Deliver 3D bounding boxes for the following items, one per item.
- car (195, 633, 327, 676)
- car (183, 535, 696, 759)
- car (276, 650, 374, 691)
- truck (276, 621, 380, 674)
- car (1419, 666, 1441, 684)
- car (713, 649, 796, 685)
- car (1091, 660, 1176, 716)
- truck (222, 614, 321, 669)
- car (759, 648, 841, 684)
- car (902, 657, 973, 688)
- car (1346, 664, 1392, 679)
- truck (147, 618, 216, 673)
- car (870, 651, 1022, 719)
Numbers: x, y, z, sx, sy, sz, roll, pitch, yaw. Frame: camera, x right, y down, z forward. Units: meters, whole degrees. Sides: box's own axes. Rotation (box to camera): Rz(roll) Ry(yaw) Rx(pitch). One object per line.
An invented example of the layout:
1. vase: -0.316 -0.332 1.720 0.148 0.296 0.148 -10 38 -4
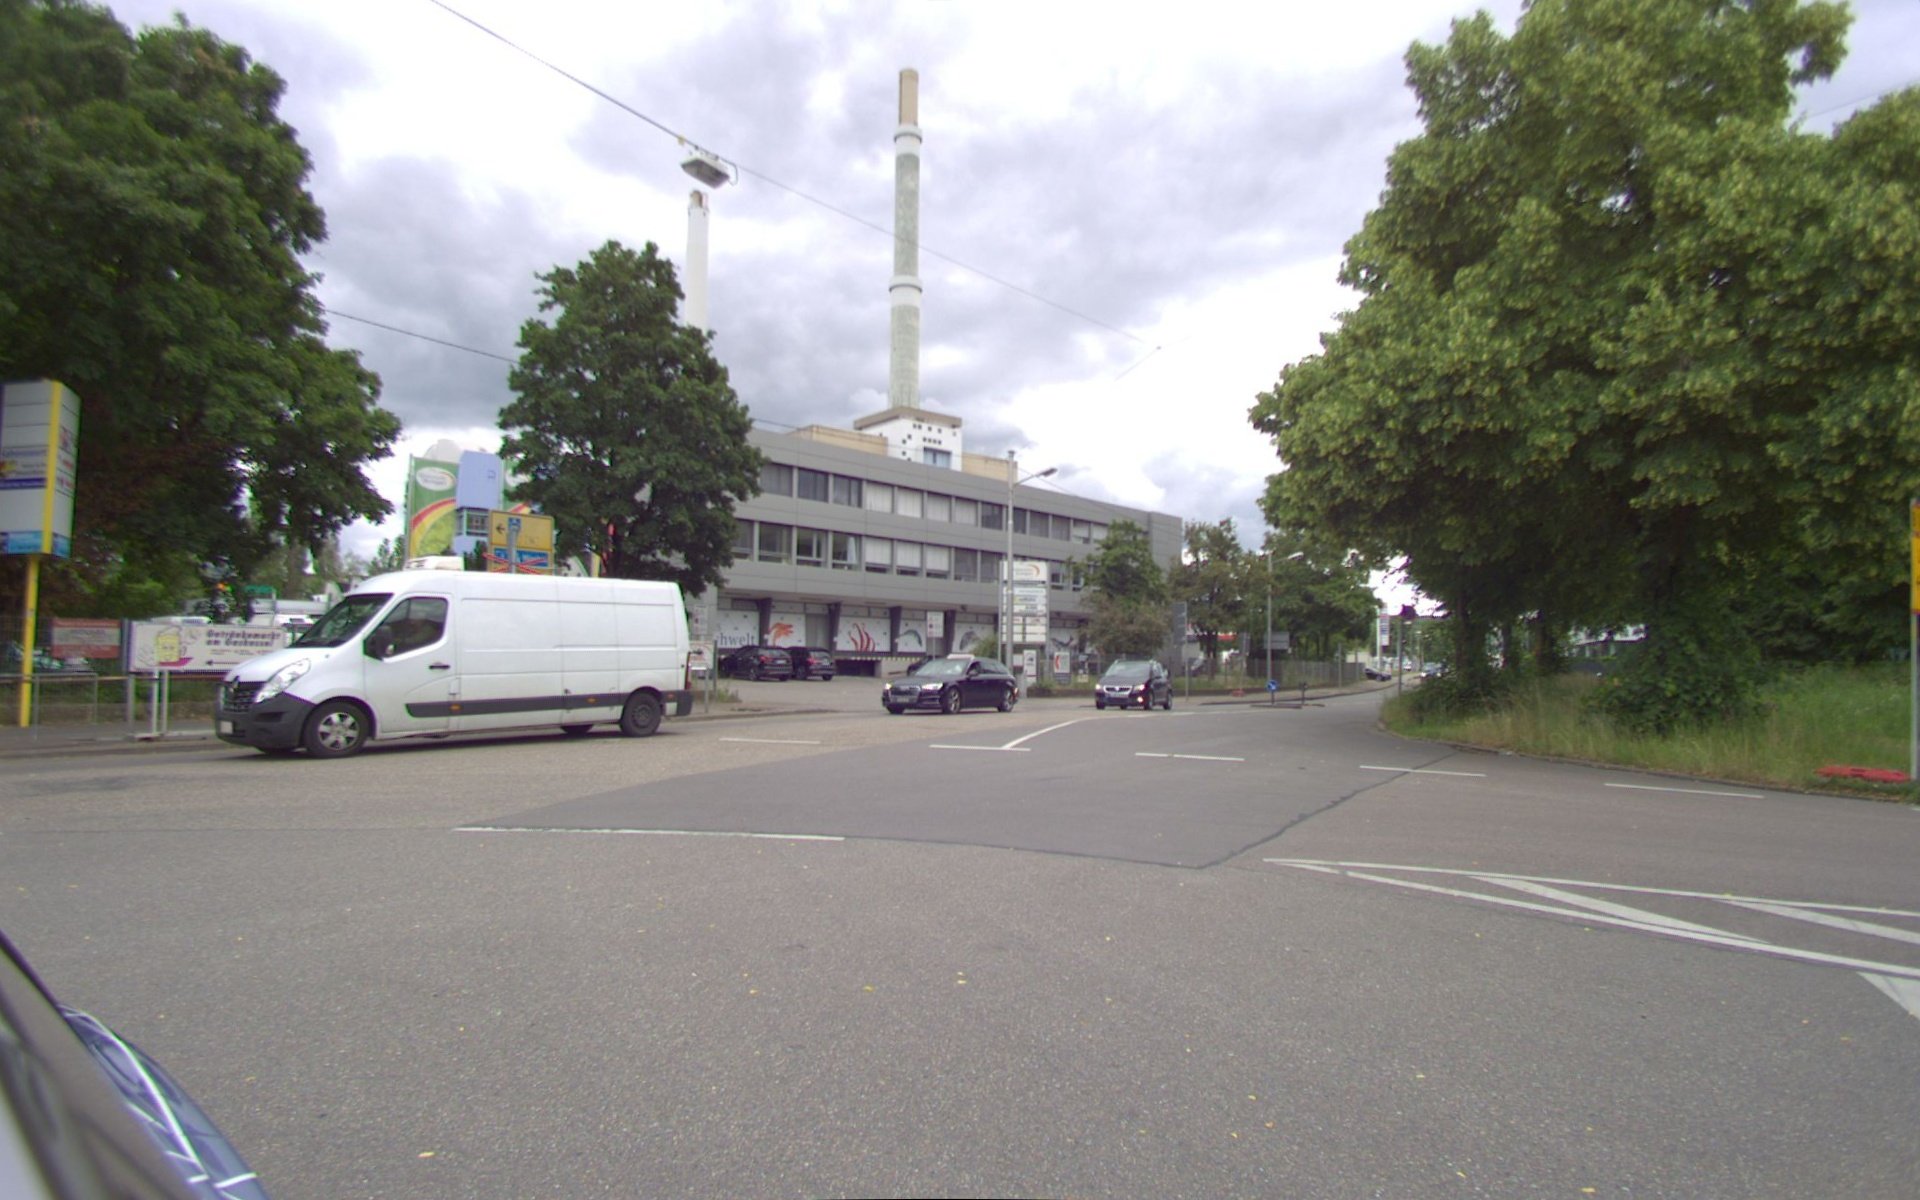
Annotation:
1. car: -47.674 3.761 69.171 2.244 2.754 7.050 -3 -6 44
2. car: -6.938 0.721 14.367 2.385 2.478 6.024 -3 -5 36
3. car: -20.707 2.279 32.978 3.700 1.258 1.686 -3 -5 41
4. truck: -51.629 3.968 82.355 15.724 3.964 2.812 -3 -5 42
5. car: 44.139 7.013 95.016 1.786 1.653 4.403 -2 -4 25
6. car: -9.975 3.215 48.911 1.811 1.630 4.469 4 -4 -44
7. car: 5.637 2.756 32.439 1.784 1.653 4.407 -1 -4 22
8. truck: -54.203 3.389 79.357 15.727 3.964 2.811 -3 -5 43
9. car: -8.096 3.308 50.903 1.812 1.630 4.426 4 -4 -45
10. car: -1.294 3.940 55.475 2.015 1.456 4.844 2 -2 -27
11. car: 53.575 9.375 132.457 5.435 1.884 2.009 -2 -4 26
12. truck: -63.446 3.771 82.421 9.191 4.198 2.956 -3 -5 44
13. car: -0.238 2.082 25.323 1.858 1.524 4.396 -2 -4 29
